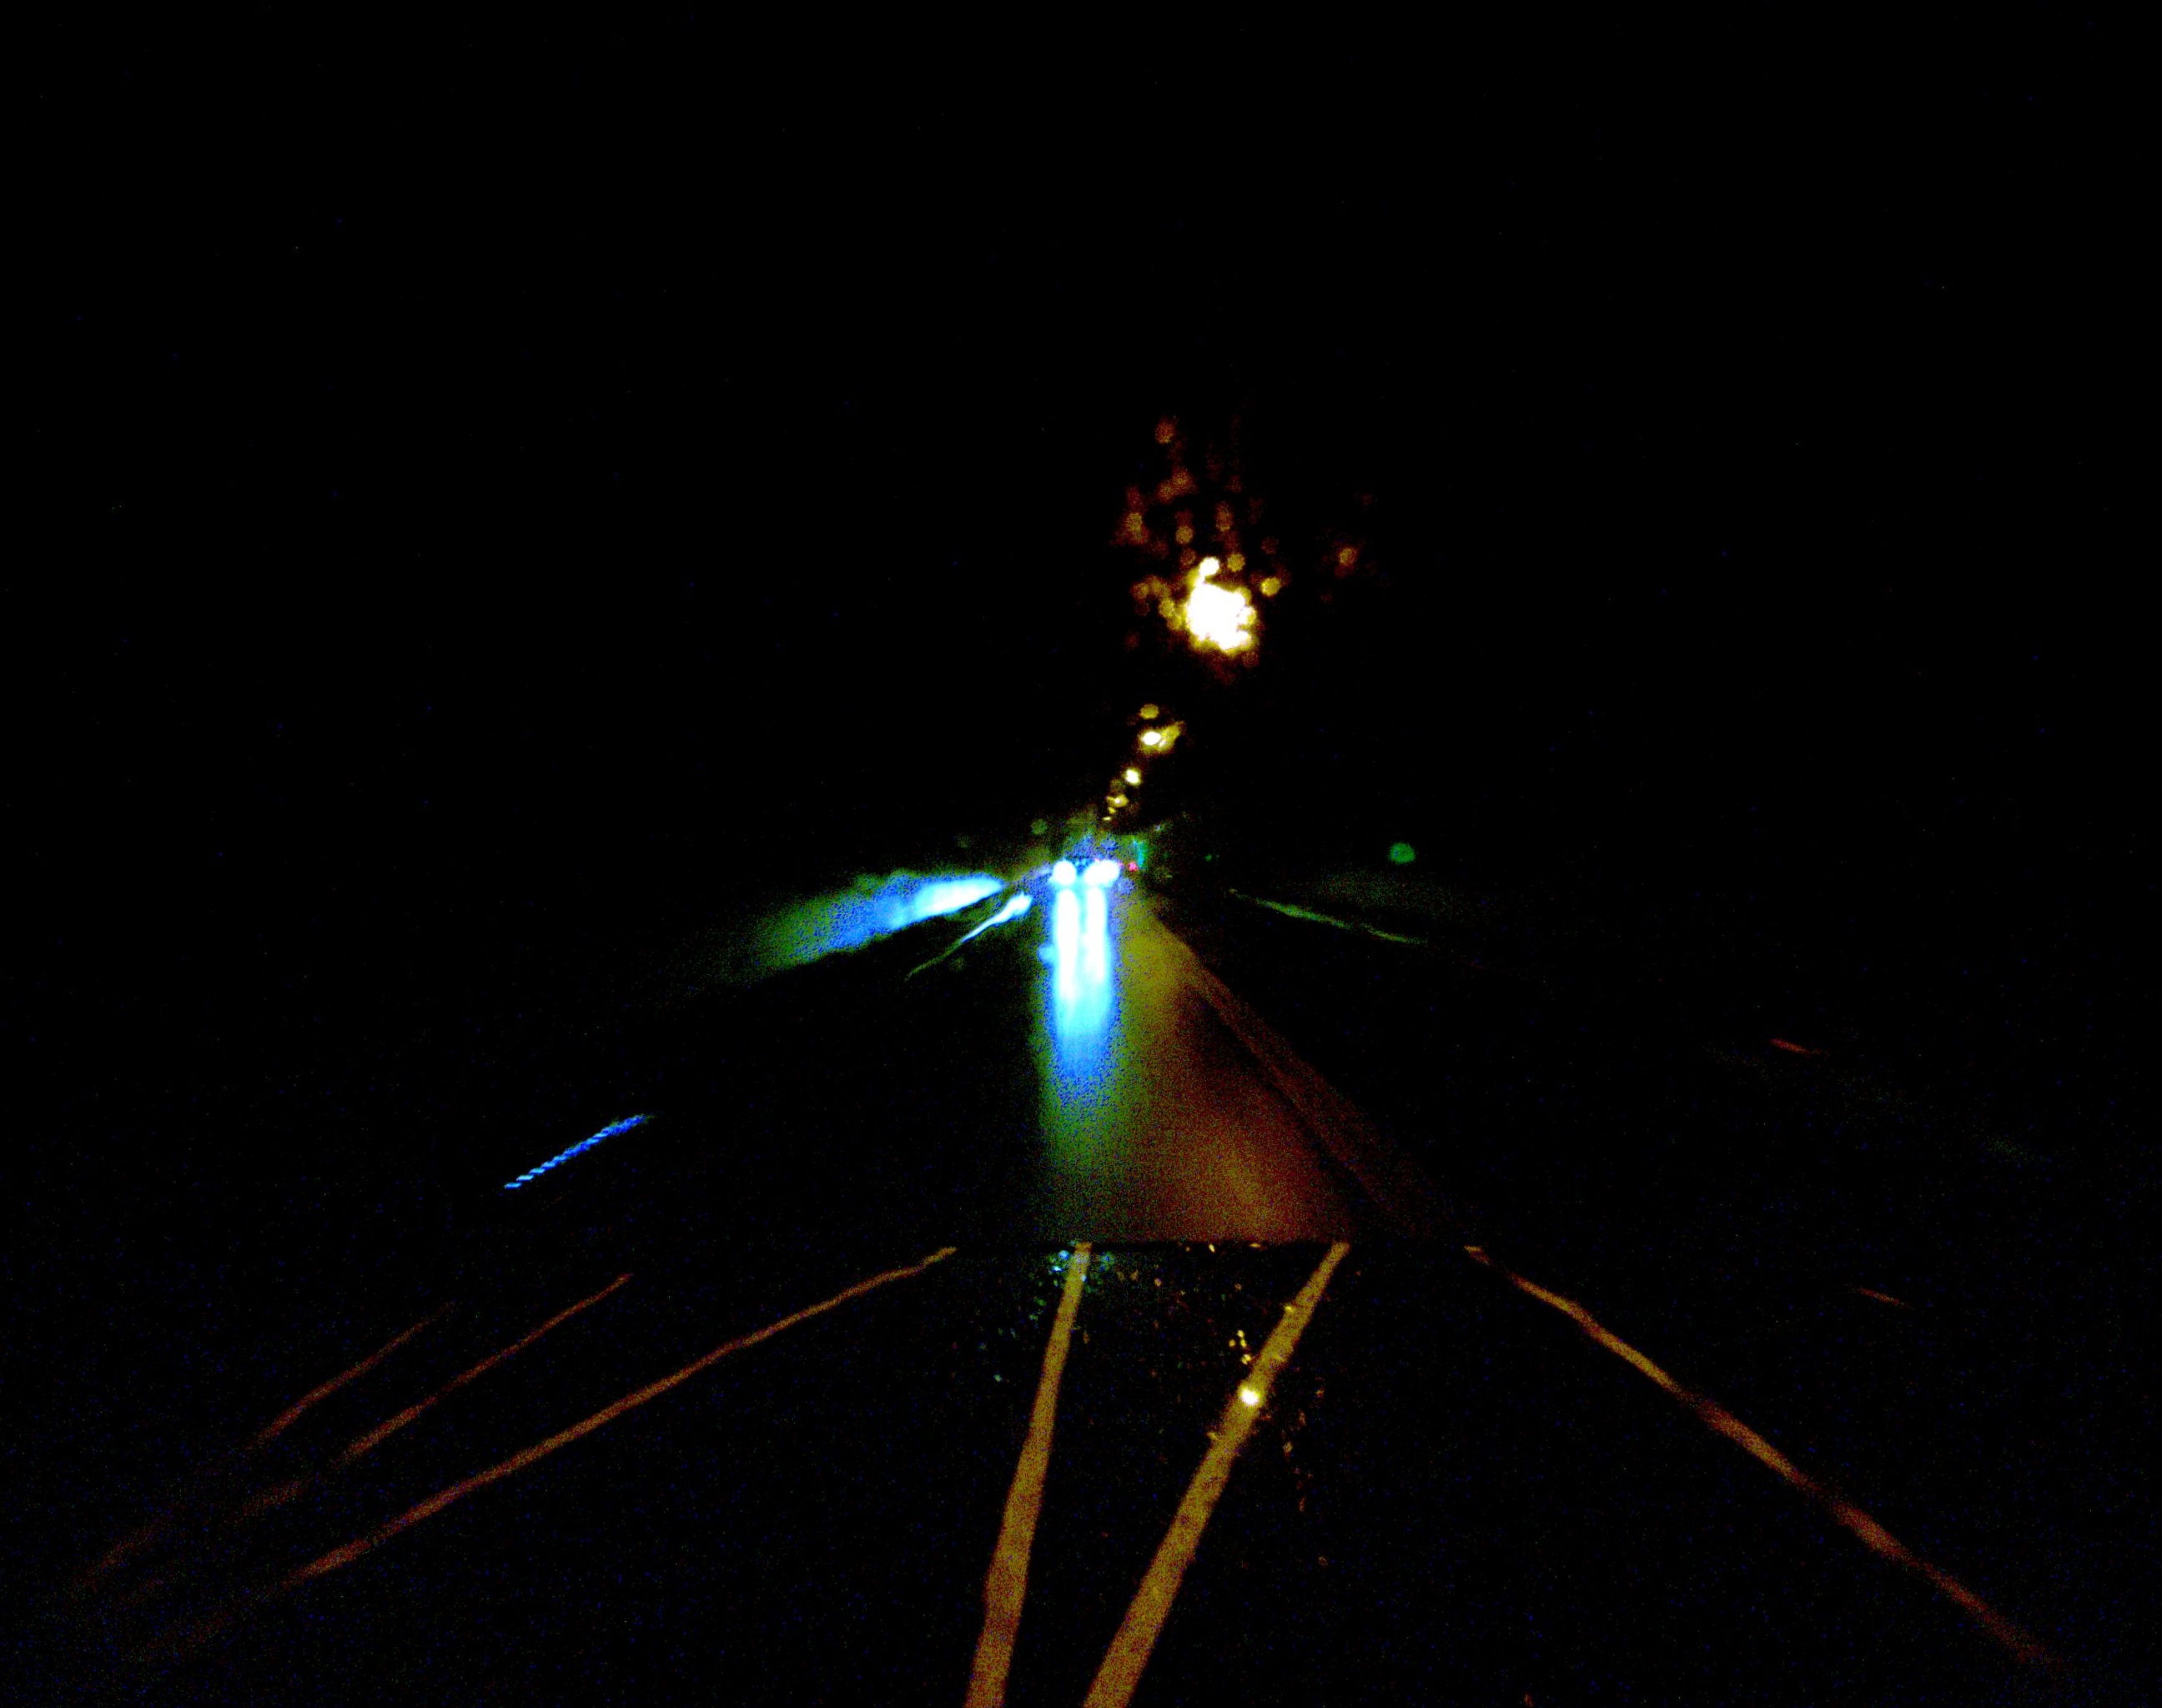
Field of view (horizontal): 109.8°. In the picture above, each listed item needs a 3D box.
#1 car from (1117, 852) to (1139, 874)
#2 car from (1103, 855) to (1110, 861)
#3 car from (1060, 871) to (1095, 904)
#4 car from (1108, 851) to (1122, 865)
[{"bbox_3d":[4.202,0.790,68.462,1.765,1.888,4.609,-1,0,1],"label":"car"},{"bbox_3d":[6.023,0.943,179.548,1.524,1.540,4.055,-1,-1,1],"label":"car"},{"bbox_3d":[-0.143,1.648,38.149,1.627,1.487,3.585,-1,0,1],"label":"car"},{"bbox_3d":[4.506,0.550,101.325,1.845,1.888,4.609,-1,0,1],"label":"car"}]
